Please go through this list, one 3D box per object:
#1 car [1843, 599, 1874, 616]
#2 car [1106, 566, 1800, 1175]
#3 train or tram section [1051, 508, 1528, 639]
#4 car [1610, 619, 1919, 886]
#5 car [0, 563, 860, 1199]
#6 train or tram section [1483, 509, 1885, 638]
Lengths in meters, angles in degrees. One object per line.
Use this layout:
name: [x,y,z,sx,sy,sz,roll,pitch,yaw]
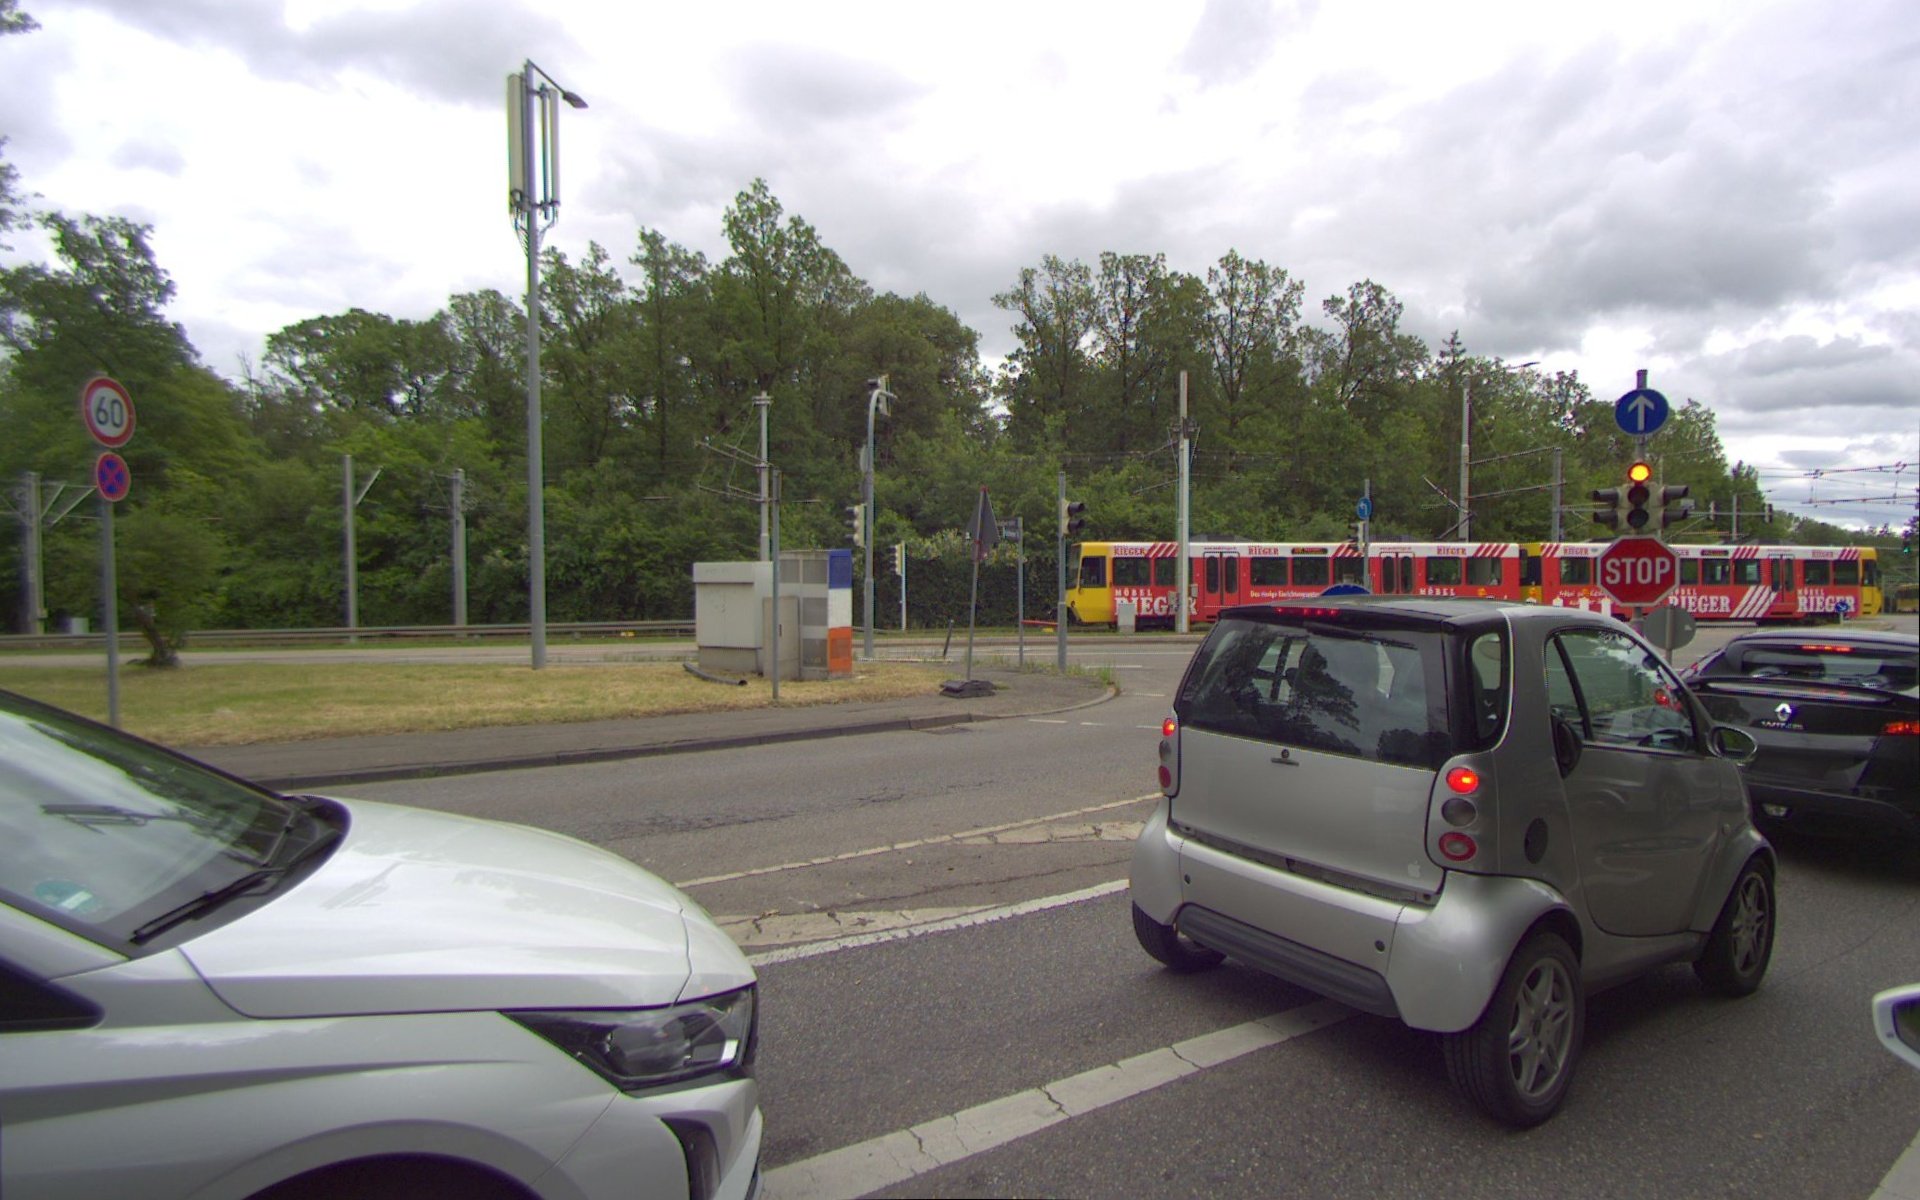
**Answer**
car: [84.902,0.649,94.881,1.942,1.561,4.283,1,1,45]
car: [2.062,0.721,4.047,2.701,1.607,1.447,0,0,-36]
train or tram section: [13.043,-0.982,40.281,18.373,4.477,2.963,2,0,-5]
car: [6.055,0.842,6.920,3.448,1.380,1.759,0,0,-41]
car: [-2.327,0.705,1.601,4.022,1.499,1.643,0,0,-28]
train or tram section: [31.447,-0.971,43.432,18.230,4.712,2.948,2,0,-14]
